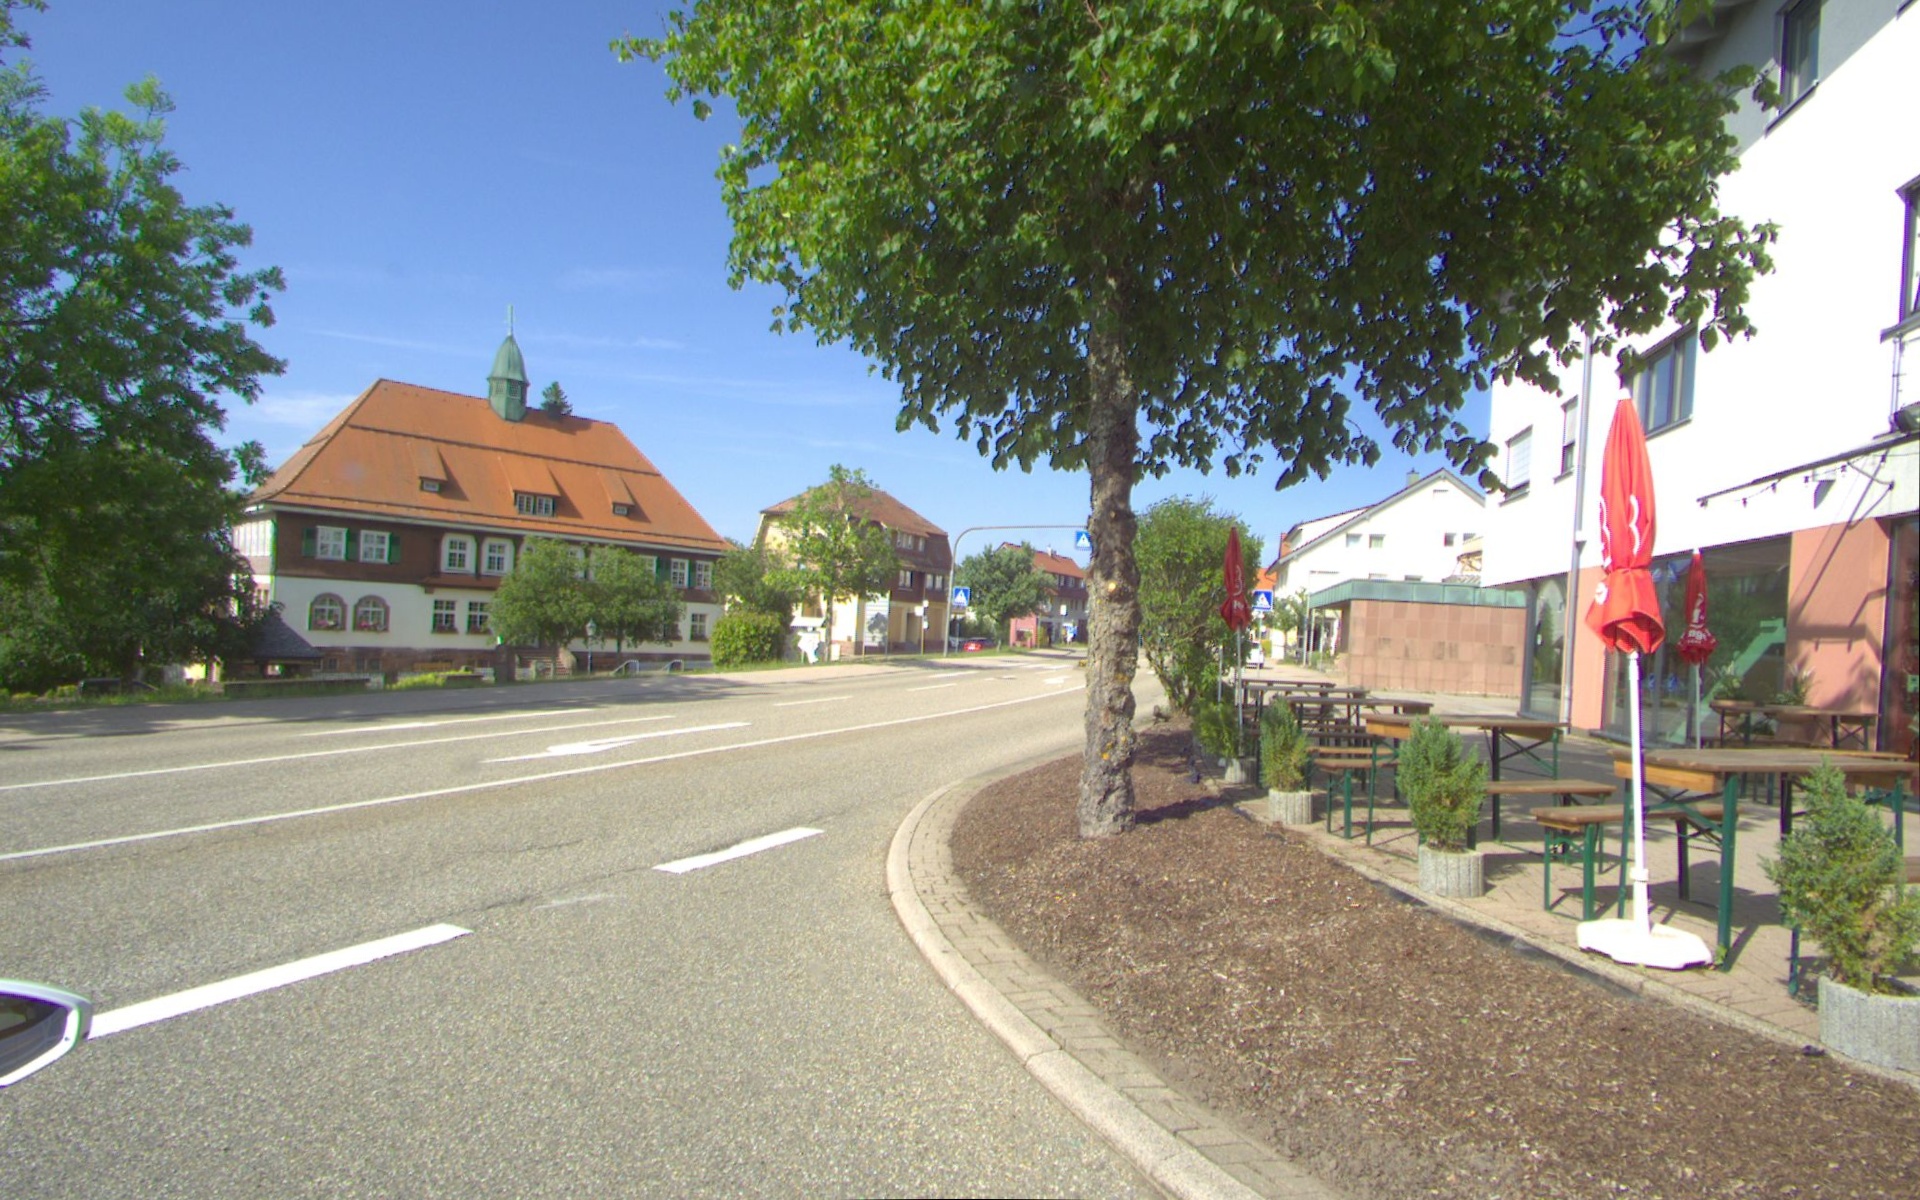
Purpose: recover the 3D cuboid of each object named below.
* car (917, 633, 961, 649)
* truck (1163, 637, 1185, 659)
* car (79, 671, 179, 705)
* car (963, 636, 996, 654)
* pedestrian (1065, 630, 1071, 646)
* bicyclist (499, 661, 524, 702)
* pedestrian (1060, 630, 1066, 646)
[{"bbox_3d":[-1.962,3.783,92.829,3.648,1.451,1.774,-2,-2,19],"label":"car"},{"bbox_3d":[25.253,5.593,118.093,1.964,2.372,6.487,2,-1,17],"label":"truck"},{"bbox_3d":[-41.624,4.384,50.193,1.696,1.463,3.751,-2,-2,44],"label":"car"},{"bbox_3d":[1.641,3.707,82.048,1.744,1.451,3.710,-1,-2,17],"label":"car"},{"bbox_3d":[12.011,4.265,111.192,0.489,1.771,0.581,-1,-1,31],"label":"pedestrian"},{"bbox_3d":[-22.111,4.006,49.327,0.988,1.949,0.577,1,-2,-43],"label":"bicyclist"},{"bbox_3d":[11.530,4.287,111.778,0.489,1.771,0.587,-1,-1,31],"label":"pedestrian"}]
